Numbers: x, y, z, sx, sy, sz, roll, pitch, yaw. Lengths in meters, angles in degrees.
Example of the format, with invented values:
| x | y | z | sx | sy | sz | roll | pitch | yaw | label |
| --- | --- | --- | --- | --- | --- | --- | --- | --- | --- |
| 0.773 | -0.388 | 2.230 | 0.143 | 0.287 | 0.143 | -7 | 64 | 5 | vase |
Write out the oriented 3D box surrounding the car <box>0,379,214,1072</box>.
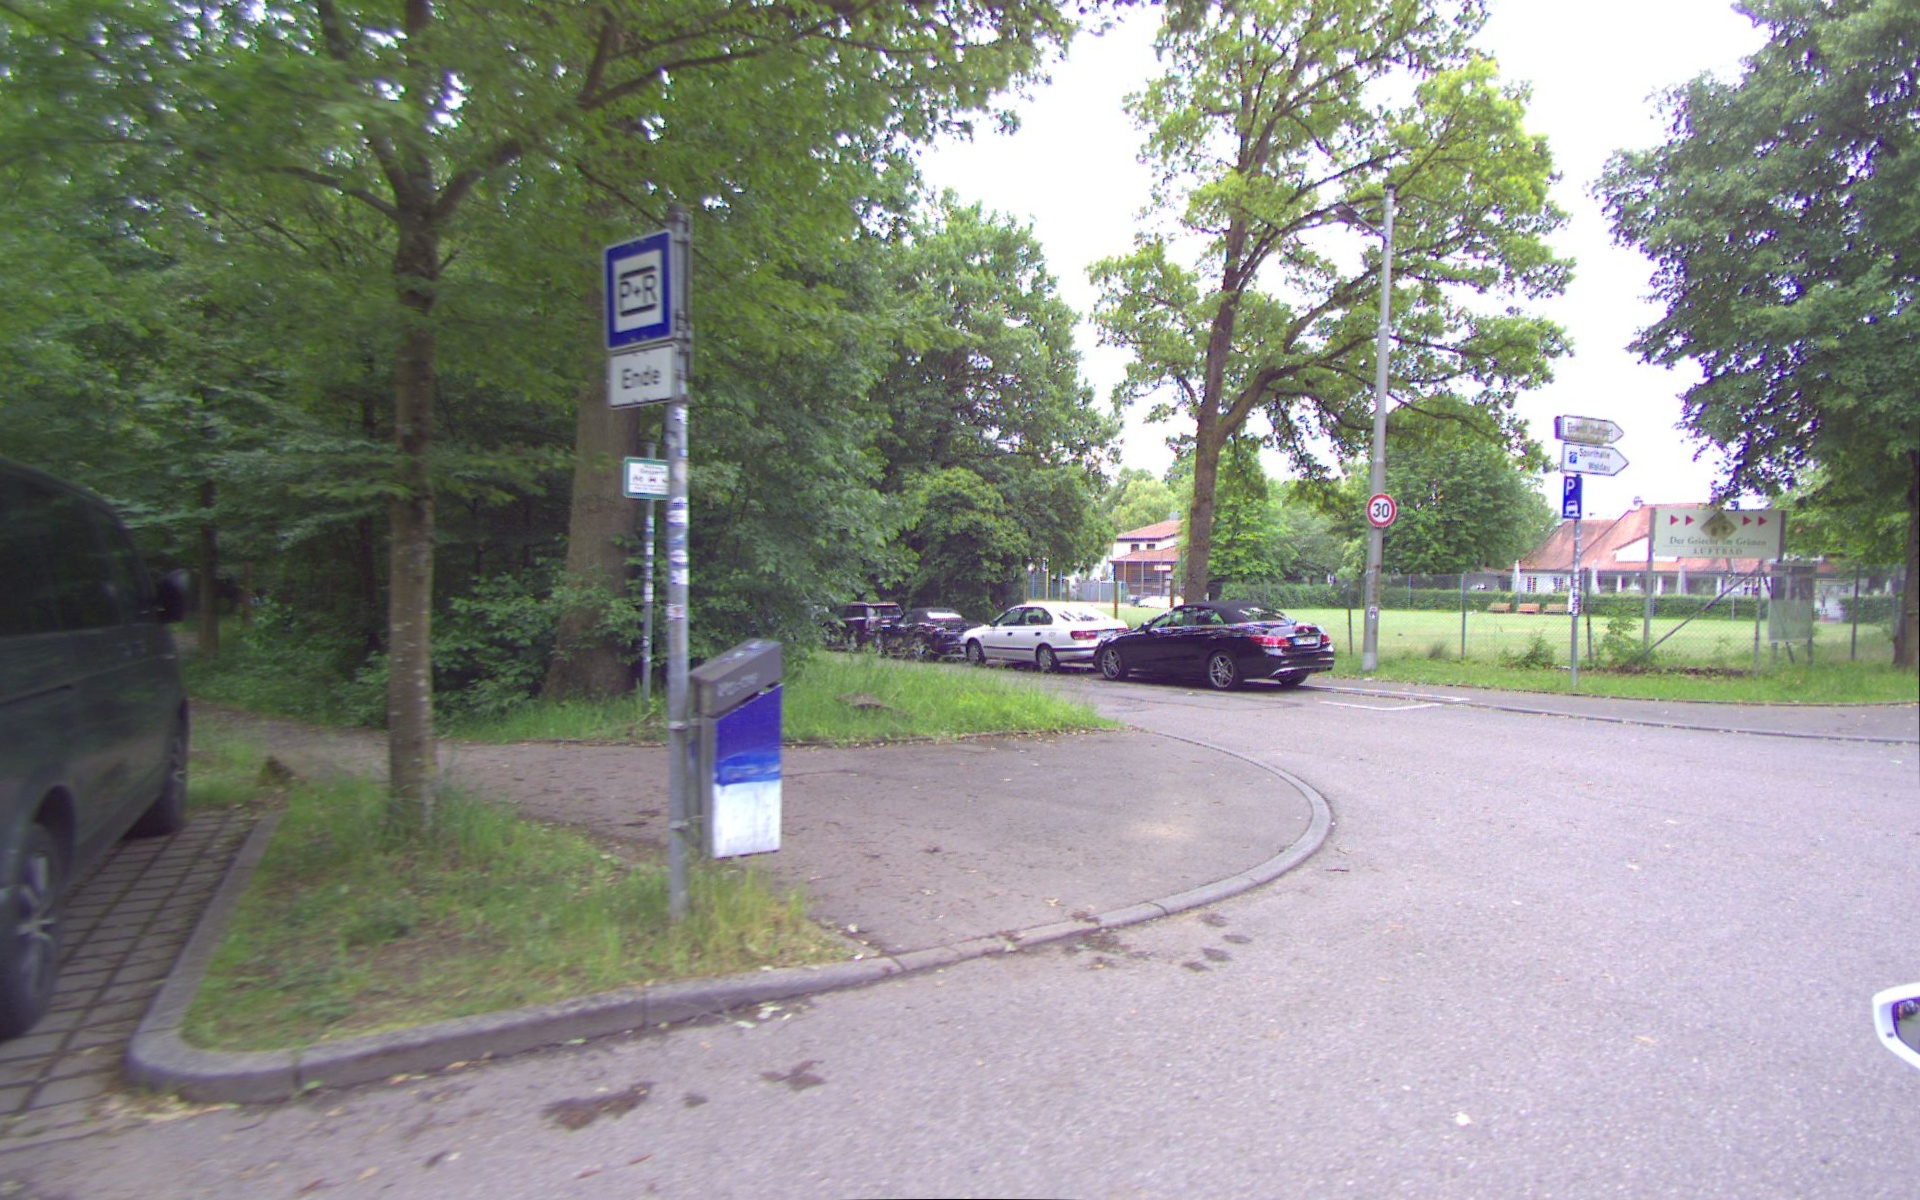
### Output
| x | y | z | sx | sy | sz | roll | pitch | yaw | label |
| --- | --- | --- | --- | --- | --- | --- | --- | --- | --- |
| -4.385 | 0.324 | 3.864 | 1.869 | 2.004 | 4.481 | 1 | 1 | -30 | car |

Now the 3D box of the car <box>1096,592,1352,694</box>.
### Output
| x | y | z | sx | sy | sz | roll | pitch | yaw | label |
| --- | --- | --- | --- | --- | --- | --- | --- | --- | --- |
| 4.389 | 0.664 | 17.349 | 1.752 | 1.514 | 4.291 | -1 | 0 | -31 | car |

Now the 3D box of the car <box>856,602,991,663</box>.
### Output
| x | y | z | sx | sy | sz | roll | pitch | yaw | label |
| --- | --- | --- | --- | --- | --- | --- | --- | --- | --- |
| -0.996 | 0.785 | 25.571 | 1.674 | 1.377 | 3.832 | -1 | 0 | -34 | car |

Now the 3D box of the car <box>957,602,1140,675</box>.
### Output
| x | y | z | sx | sy | sz | roll | pitch | yaw | label |
| --- | --- | --- | --- | --- | --- | --- | --- | --- | --- |
| 1.790 | 0.762 | 21.613 | 1.674 | 1.377 | 4.181 | -1 | 0 | -34 | car |

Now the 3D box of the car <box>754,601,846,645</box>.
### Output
| x | y | z | sx | sy | sz | roll | pitch | yaw | label |
| --- | --- | --- | --- | --- | --- | --- | --- | --- | --- |
| -5.426 | 0.743 | 33.732 | 1.674 | 1.377 | 3.597 | -1 | 0 | -34 | car |

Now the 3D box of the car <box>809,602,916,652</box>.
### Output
| x | y | z | sx | sy | sz | roll | pitch | yaw | label |
| --- | --- | --- | --- | --- | --- | --- | --- | --- | --- |
| -2.959 | 0.778 | 29.946 | 1.674 | 1.377 | 3.597 | -1 | 0 | -34 | car |
